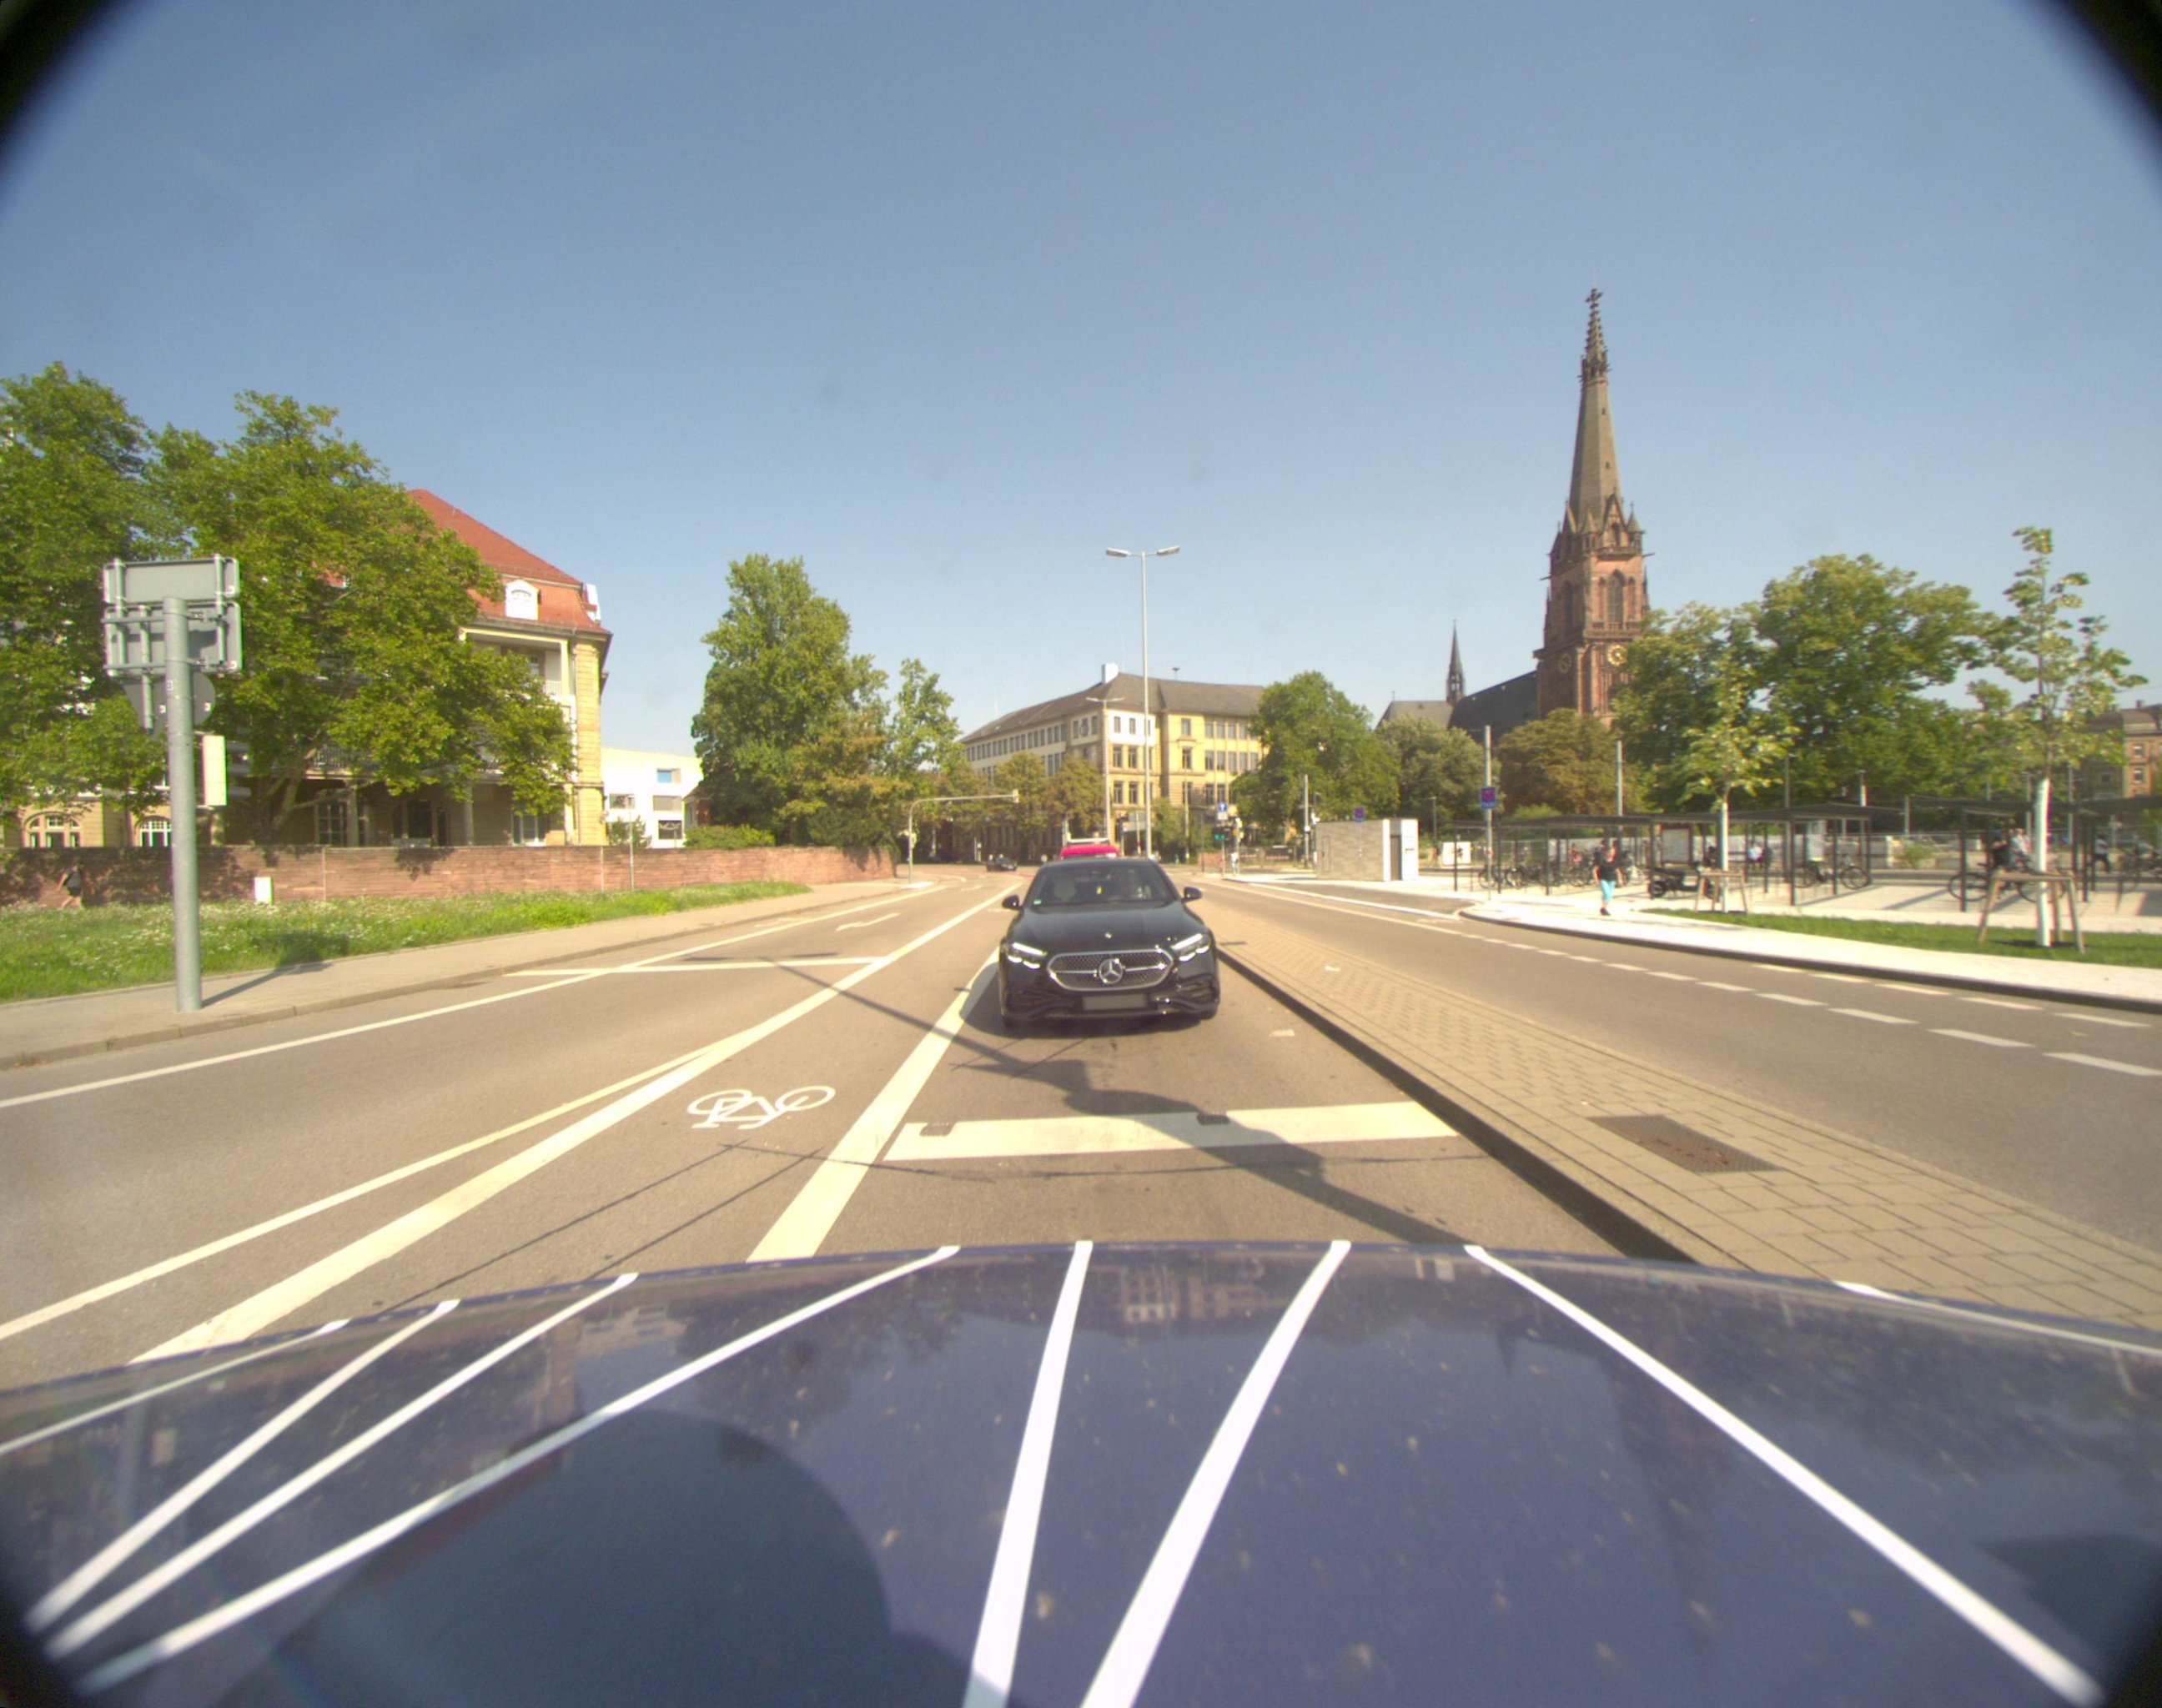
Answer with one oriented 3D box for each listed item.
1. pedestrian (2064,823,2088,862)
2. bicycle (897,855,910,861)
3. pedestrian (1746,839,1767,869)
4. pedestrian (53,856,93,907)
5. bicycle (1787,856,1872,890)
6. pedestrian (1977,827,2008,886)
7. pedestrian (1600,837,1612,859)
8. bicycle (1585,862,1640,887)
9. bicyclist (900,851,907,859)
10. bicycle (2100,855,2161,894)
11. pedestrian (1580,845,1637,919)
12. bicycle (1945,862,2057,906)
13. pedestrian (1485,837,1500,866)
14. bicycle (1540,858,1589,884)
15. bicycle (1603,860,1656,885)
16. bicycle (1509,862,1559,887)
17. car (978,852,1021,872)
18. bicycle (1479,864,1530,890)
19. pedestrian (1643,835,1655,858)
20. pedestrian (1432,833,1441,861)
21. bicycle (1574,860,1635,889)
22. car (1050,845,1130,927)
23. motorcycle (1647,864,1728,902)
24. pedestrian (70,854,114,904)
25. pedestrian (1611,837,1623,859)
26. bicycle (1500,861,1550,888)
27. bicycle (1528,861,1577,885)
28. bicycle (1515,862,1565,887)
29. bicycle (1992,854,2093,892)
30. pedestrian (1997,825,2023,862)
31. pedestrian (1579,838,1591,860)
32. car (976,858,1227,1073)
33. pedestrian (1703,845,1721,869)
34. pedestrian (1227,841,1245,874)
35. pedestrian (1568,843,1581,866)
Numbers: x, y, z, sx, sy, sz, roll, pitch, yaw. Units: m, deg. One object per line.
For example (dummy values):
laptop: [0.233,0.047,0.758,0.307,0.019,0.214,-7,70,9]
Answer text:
pedestrian: [37.180,-0.429,28.382,0.570,1.414,0.468,-4,1,-33]
bicycle: [-28.406,0.631,121.413,2.082,0.951,0.668,-1,1,30]
pedestrian: [31.946,-0.020,35.929,0.663,1.387,0.642,-2,1,-37]
pedestrian: [-33.936,0.916,25.588,0.595,1.642,0.482,-4,1,-30]
bicycle: [23.620,0.586,24.012,0.462,1.003,1.870,-2,1,-34]
pedestrian: [28.033,0.061,23.370,0.334,1.791,0.591,-2,2,-39]
pedestrian: [29.432,-0.321,42.589,0.440,1.217,0.382,-4,1,-33]
bicycle: [19.277,0.730,27.595,0.411,0.887,1.584,-2,1,-34]
bicyclist: [-28.393,0.145,121.385,0.922,1.332,0.668,0,1,30]
bicycle: [28.129,0.532,19.876,0.475,1.015,1.740,-2,1,-35]
pedestrian: [11.403,0.594,16.445,0.754,1.556,0.666,0,1,-18]
bicycle: [22.752,0.716,18.828,0.402,1.003,1.741,-2,1,-34]
pedestrian: [24.882,-0.157,45.947,0.716,1.738,0.389,-1,1,-2]
bicycle: [19.204,0.648,30.177,0.453,0.972,1.584,-4,2,-34]
bicycle: [20.531,0.666,28.470,0.411,0.887,1.584,-2,1,-34]
bicycle: [16.904,0.738,28.404,0.402,0.887,1.584,-2,1,-34]
car: [-7.745,0.722,72.102,2.003,1.601,4.234,-4,4,-39]
bicycle: [15.252,0.810,27.400,0.402,0.887,1.584,-2,1,-34]
pedestrian: [30.655,-0.418,41.009,0.440,1.217,0.382,-4,1,-33]
pedestrian: [22.437,-0.445,47.929,0.517,1.697,0.504,0,2,24]
bicycle: [18.620,0.701,27.062,0.534,0.981,1.709,-2,1,-34]
car: [0.242,0.700,18.996,1.736,1.808,4.277,-1,0,1]
motorcycle: [17.533,0.822,22.003,0.544,1.003,1.741,-2,1,-34]
pedestrian: [-34.160,0.856,26.249,0.719,1.674,0.593,-2,2,-31]
pedestrian: [29.563,-0.323,41.912,0.440,1.217,0.382,-4,1,-33]
bicycle: [16.336,0.750,27.992,0.422,0.962,1.584,-2,1,-34]
bicycle: [18.198,0.712,29.380,0.402,0.887,1.584,-2,1,-34]
bicycle: [17.353,0.754,28.750,0.411,0.887,1.584,-2,1,-34]
bicycle: [27.196,0.520,21.530,0.402,1.003,1.741,-2,1,-34]
pedestrian: [36.664,-0.397,29.980,0.470,1.414,0.567,-4,1,-33]
pedestrian: [28.467,-0.266,42.897,0.440,1.217,0.382,-4,1,-33]
car: [0.215,0.842,8.028,1.824,1.432,4.873,-1,1,1]
pedestrian: [31.067,0.141,37.388,0.468,1.190,0.573,-2,1,-33]
pedestrian: [9.479,0.194,46.509,0.715,2.002,0.731,-2,2,-38]
pedestrian: [28.150,0.038,43.347,0.394,1.310,0.414,-4,1,-29]
